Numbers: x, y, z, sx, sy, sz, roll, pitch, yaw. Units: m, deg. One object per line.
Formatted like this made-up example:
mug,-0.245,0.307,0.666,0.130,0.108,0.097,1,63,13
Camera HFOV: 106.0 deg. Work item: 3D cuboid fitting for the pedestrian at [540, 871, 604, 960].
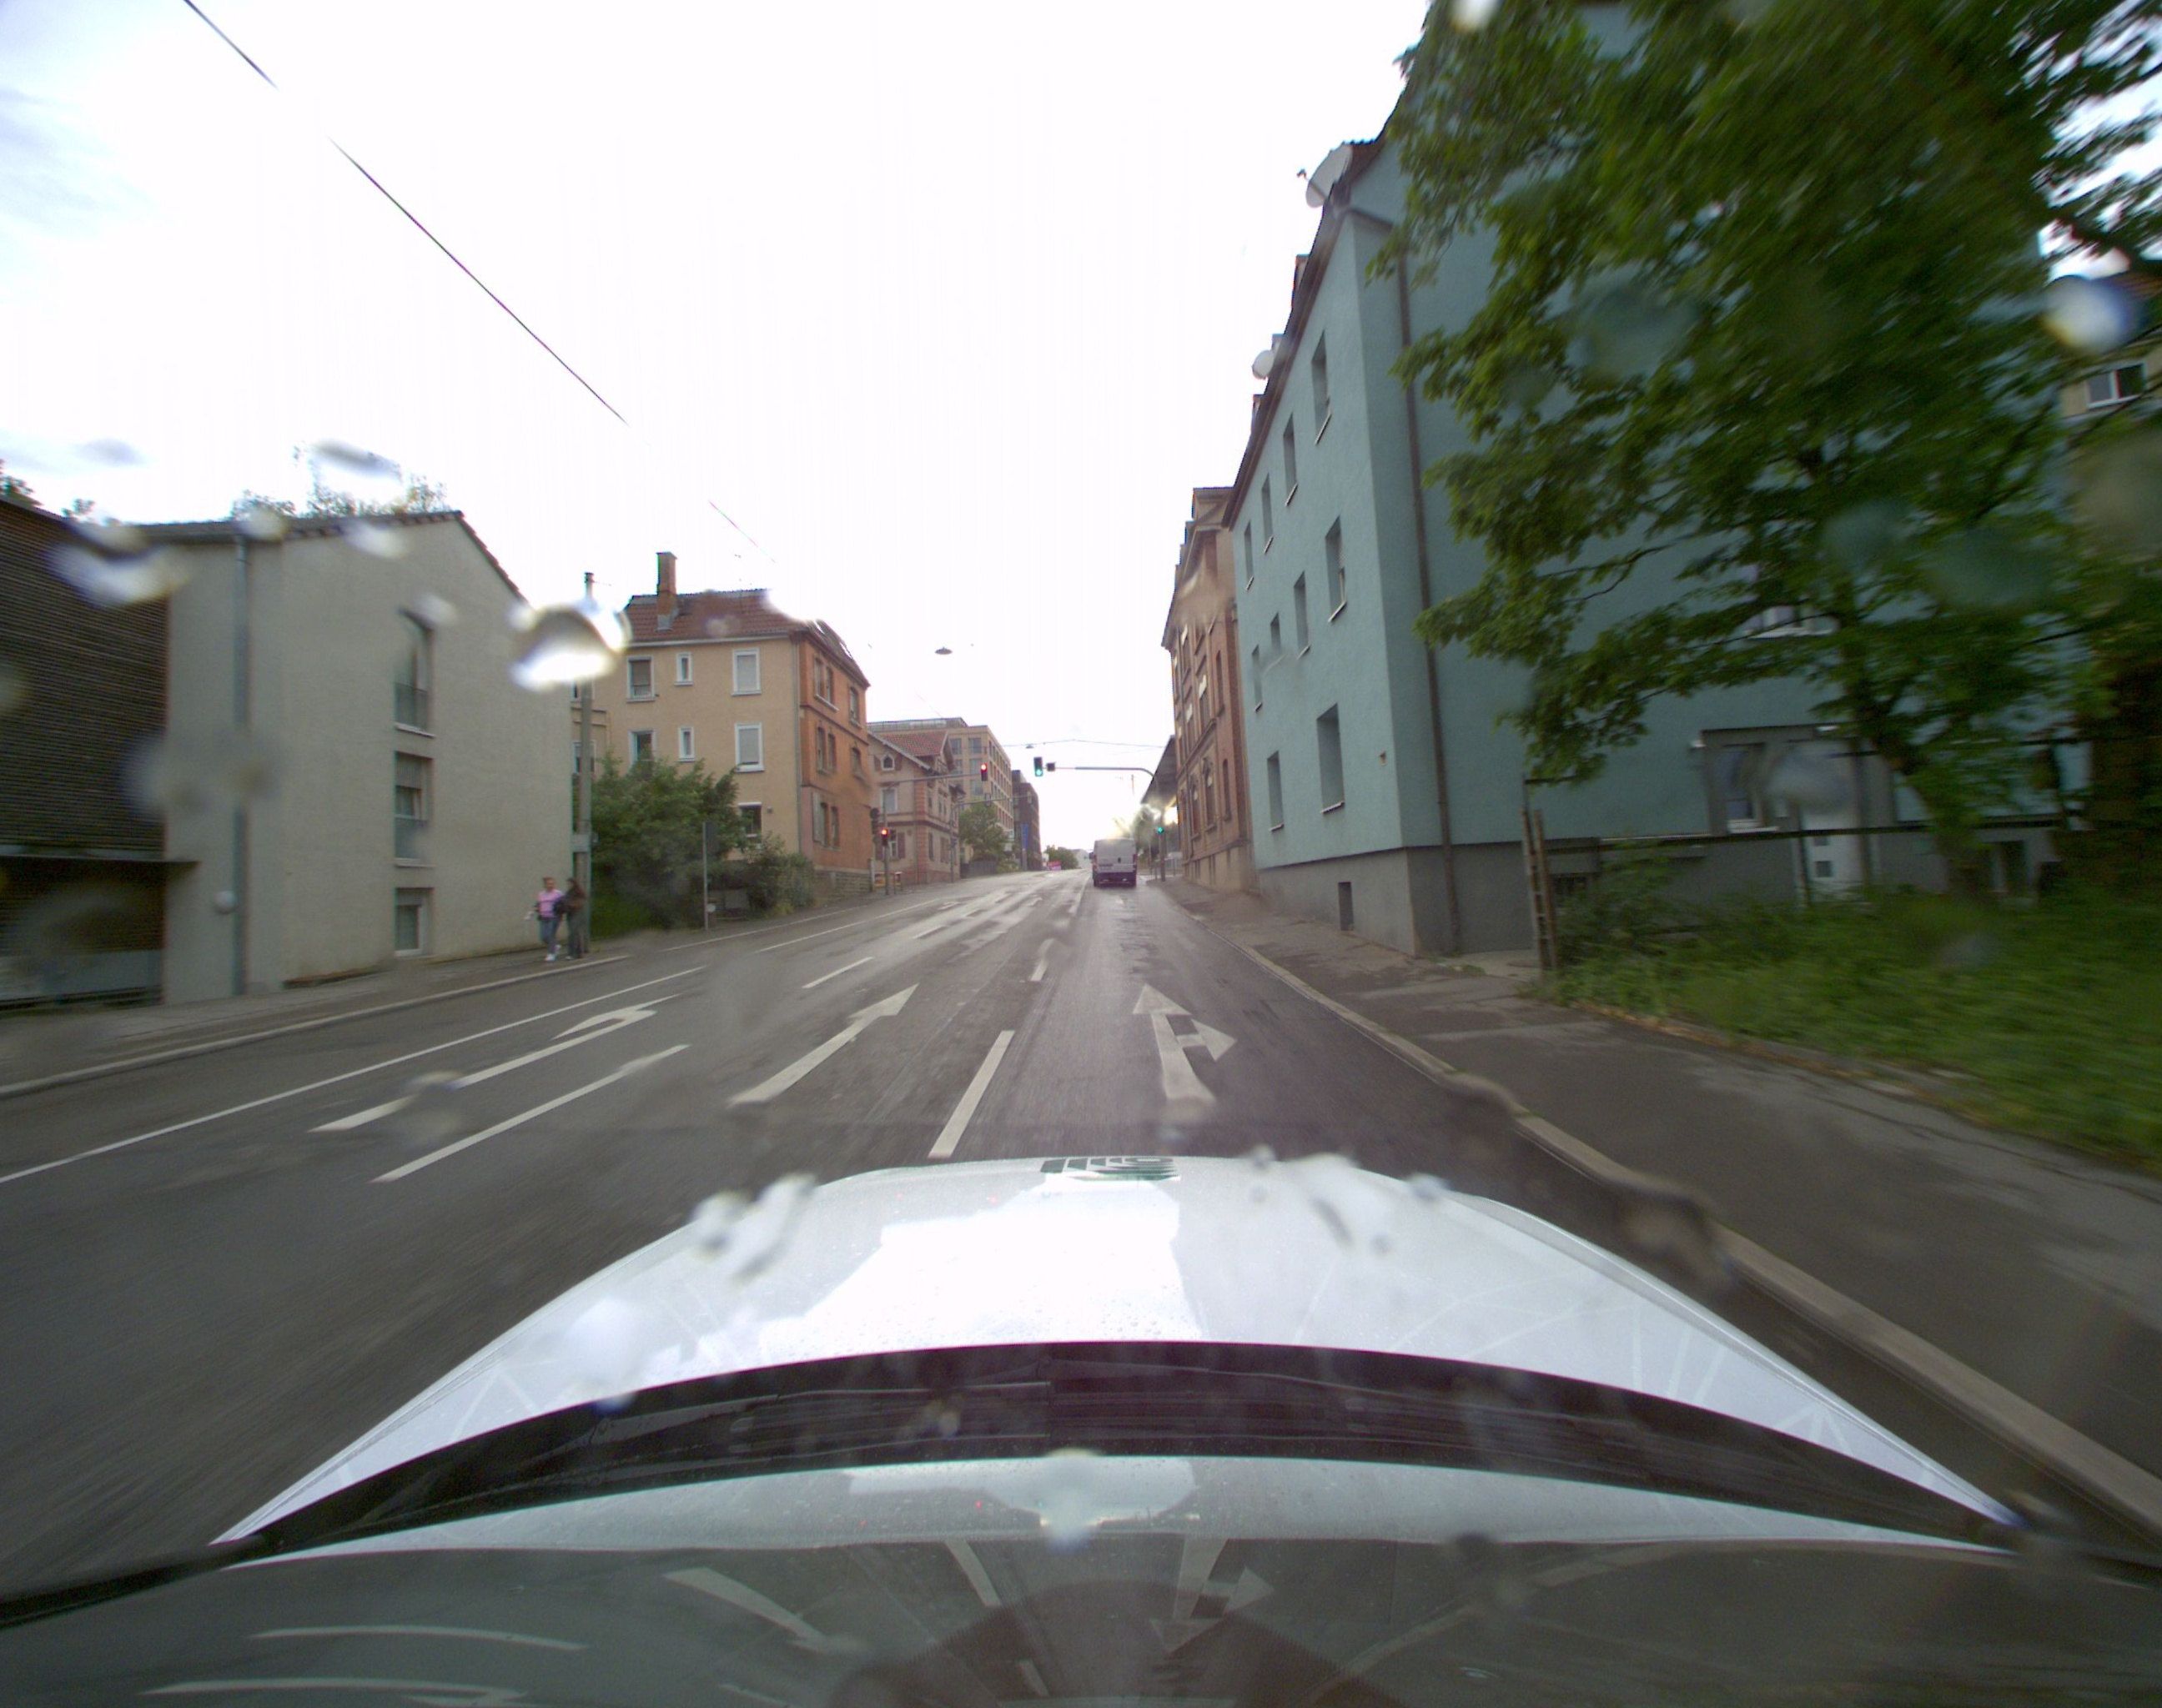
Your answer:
pedestrian,-10.230,1.215,16.399,0.638,1.706,0.911,-2,-1,2

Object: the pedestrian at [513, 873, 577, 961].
pedestrian,-10.914,1.261,16.615,0.638,1.706,0.911,-2,-1,2

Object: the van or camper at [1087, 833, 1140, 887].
van or camper,1.588,0.320,39.624,2.331,2.357,5.201,-2,-1,2

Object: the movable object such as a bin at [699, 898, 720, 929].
movable object such as a bin,-11.545,1.836,25.311,0.408,0.925,0.525,-2,-1,-6
